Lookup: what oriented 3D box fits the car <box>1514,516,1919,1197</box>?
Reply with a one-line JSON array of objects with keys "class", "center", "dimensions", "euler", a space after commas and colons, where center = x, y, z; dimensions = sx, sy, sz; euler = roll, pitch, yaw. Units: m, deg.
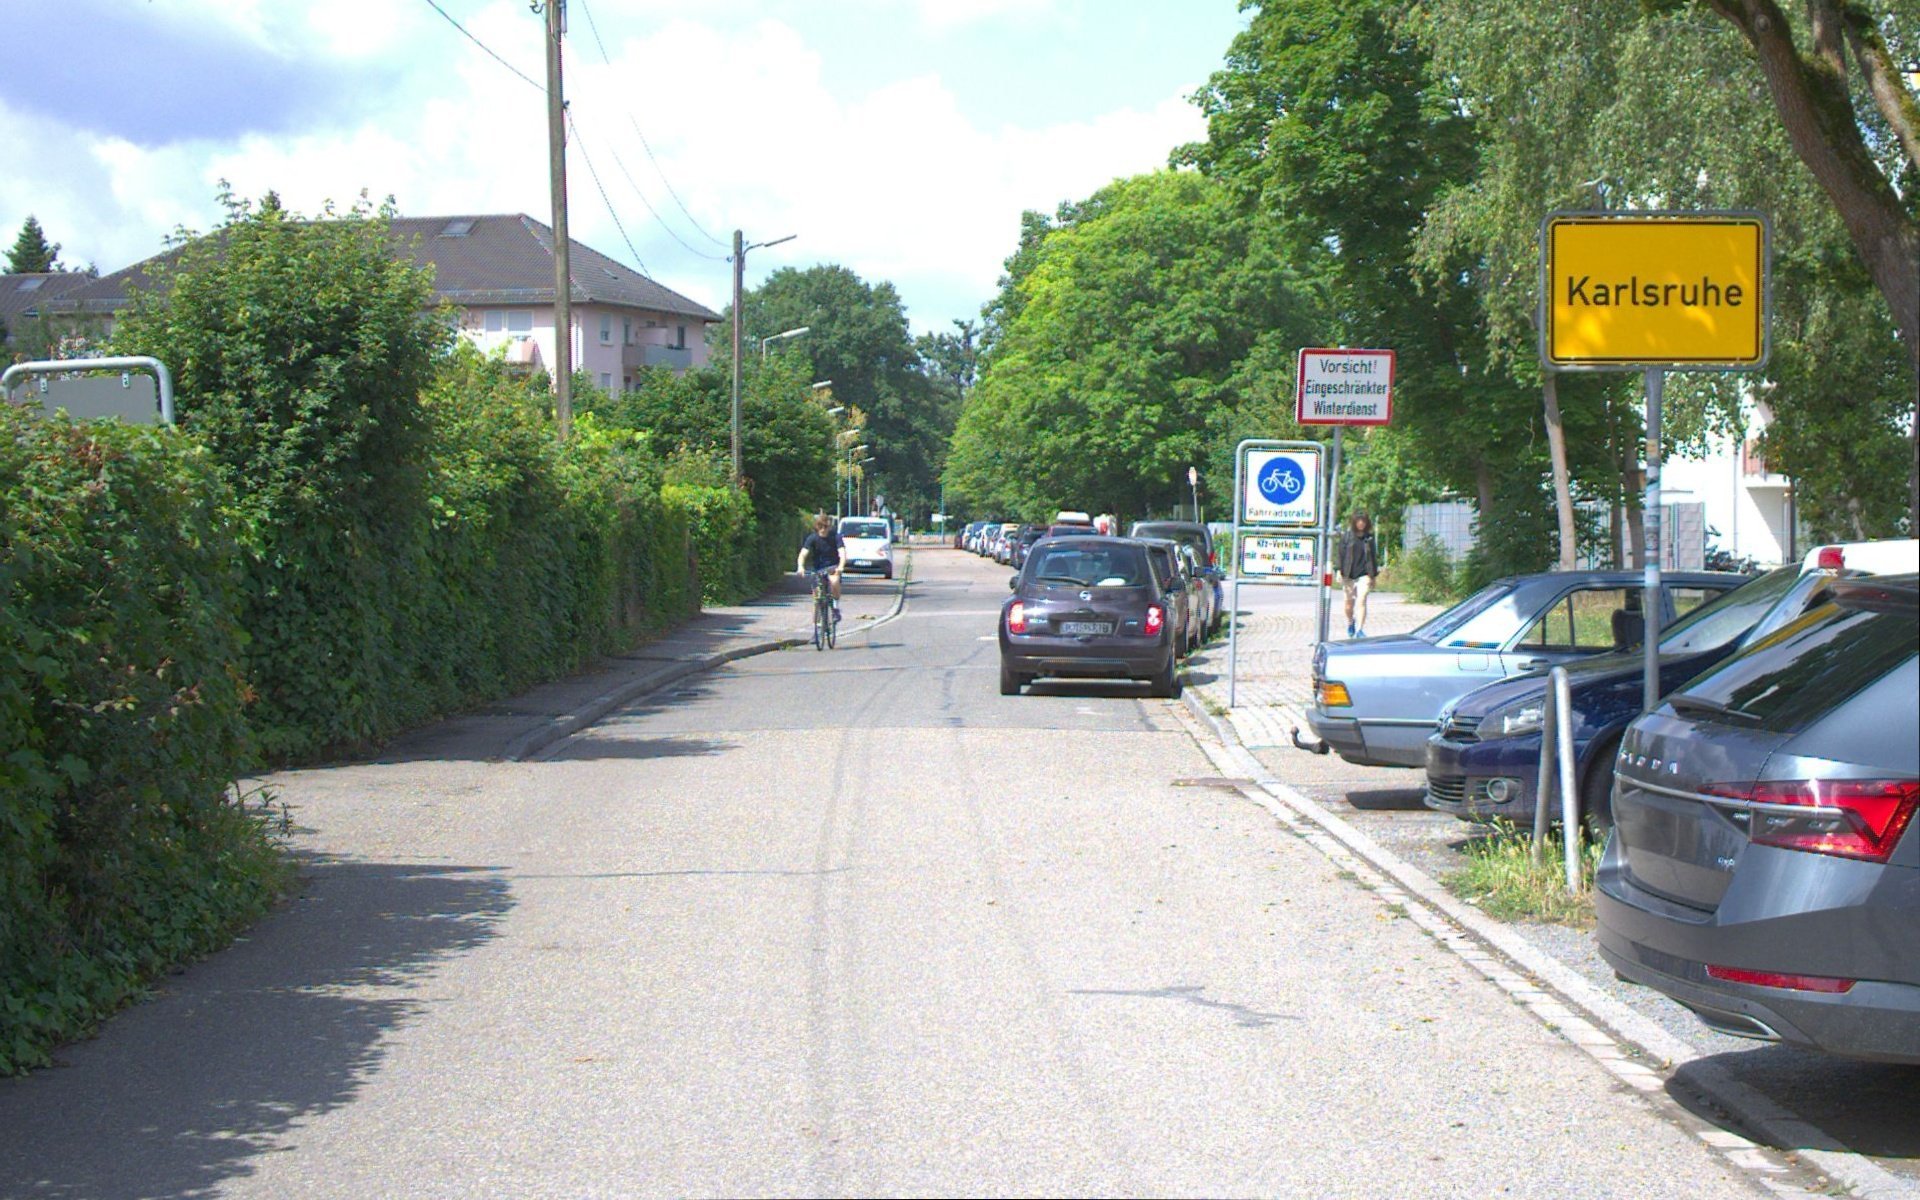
[{"class": "car", "center": [3.903, 0.634, 8.962], "dimensions": [4.548, 1.573, 1.809], "euler": [2, 1, -2]}]

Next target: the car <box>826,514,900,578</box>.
[{"class": "car", "center": [-2.852, -1.606, 102.072], "dimensions": [1.903, 1.808, 4.000], "euler": [2, 1, 2]}]

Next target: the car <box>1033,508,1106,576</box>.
[{"class": "car", "center": [3.262, -1.731, 102.285], "dimensions": [2.058, 1.919, 4.541], "euler": [2, 1, 2]}]

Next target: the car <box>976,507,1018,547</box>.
[{"class": "car", "center": [1.939, -3.844, 181.594], "dimensions": [1.993, 2.007, 4.000], "euler": [2, 1, -1]}]

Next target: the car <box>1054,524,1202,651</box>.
[{"class": "car", "center": [2.239, -0.184, 45.110], "dimensions": [1.664, 1.547, 3.636], "euler": [2, 1, 6]}]

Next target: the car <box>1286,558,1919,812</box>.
[{"class": "car", "center": [4.120, 0.464, 19.980], "dimensions": [4.359, 1.387, 1.718], "euler": [0, 1, 4]}]

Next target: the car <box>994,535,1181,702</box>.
[{"class": "car", "center": [1.309, 0.141, 33.882], "dimensions": [1.663, 1.501, 4.000], "euler": [2, 1, 4]}]

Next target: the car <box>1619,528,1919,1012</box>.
[{"class": "car", "center": [4.288, 0.570, 11.951], "dimensions": [3.573, 1.544, 1.667], "euler": [1, 1, -4]}]

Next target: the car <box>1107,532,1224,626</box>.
[{"class": "car", "center": [3.310, -0.365, 55.862], "dimensions": [1.663, 1.430, 3.542], "euler": [2, 1, 0]}]

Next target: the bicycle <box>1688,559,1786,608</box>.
[{"class": "bicycle", "center": [17.521, -0.375, 77.564], "dimensions": [2.047, 1.076, 0.688], "euler": [-1, 1, 3]}]

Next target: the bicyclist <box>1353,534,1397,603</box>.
[{"class": "bicyclist", "center": [10.848, -0.815, 89.832], "dimensions": [0.786, 1.779, 0.892], "euler": [2, 1, 32]}]

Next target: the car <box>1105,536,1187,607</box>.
[{"class": "car", "center": [4.133, -0.655, 76.813], "dimensions": [1.679, 1.514, 4.000], "euler": [2, 1, 2]}]

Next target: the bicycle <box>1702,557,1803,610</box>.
[{"class": "bicycle", "center": [17.525, -0.366, 76.055], "dimensions": [2.089, 1.115, 0.625], "euler": [-1, 1, 4]}]

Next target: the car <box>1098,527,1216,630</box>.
[{"class": "car", "center": [2.974, -0.342, 51.426], "dimensions": [1.663, 1.434, 3.744], "euler": [2, 1, 4]}]

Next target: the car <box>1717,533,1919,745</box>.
[{"class": "car", "center": [7.743, 0.215, 24.550], "dimensions": [4.240, 1.425, 1.759], "euler": [-2, 1, -1]}]

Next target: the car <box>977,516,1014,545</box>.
[{"class": "car", "center": [2.056, -3.979, 196.422], "dimensions": [1.852, 1.612, 4.000], "euler": [2, 1, 4]}]

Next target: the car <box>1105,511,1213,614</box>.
[{"class": "car", "center": [3.681, -0.700, 63.210], "dimensions": [1.874, 1.800, 3.432], "euler": [2, 1, 4]}]

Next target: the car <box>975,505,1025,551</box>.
[{"class": "car", "center": [1.790, -3.155, 151.870], "dimensions": [2.058, 1.955, 4.541], "euler": [2, 1, 2]}]

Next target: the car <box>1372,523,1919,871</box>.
[{"class": "car", "center": [4.147, 0.458, 16.871], "dimensions": [3.932, 1.554, 1.868], "euler": [2, 1, -2]}]

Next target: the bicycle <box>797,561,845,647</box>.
[{"class": "bicycle", "center": [-1.927, 0.042, 47.807], "dimensions": [0.518, 1.146, 1.827], "euler": [-1, 1, 2]}]

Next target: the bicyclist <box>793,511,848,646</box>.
[{"class": "bicyclist", "center": [-1.933, -0.304, 47.728], "dimensions": [0.659, 1.846, 1.043], "euler": [-1, 1, 2]}]

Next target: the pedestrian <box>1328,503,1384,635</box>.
[{"class": "pedestrian", "center": [5.295, -0.417, 45.946], "dimensions": [0.610, 1.739, 0.721], "euler": [2, 1, 13]}]

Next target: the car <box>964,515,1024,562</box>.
[{"class": "car", "center": [1.278, -2.282, 126.793], "dimensions": [2.058, 1.646, 4.541], "euler": [2, 1, 2]}]
